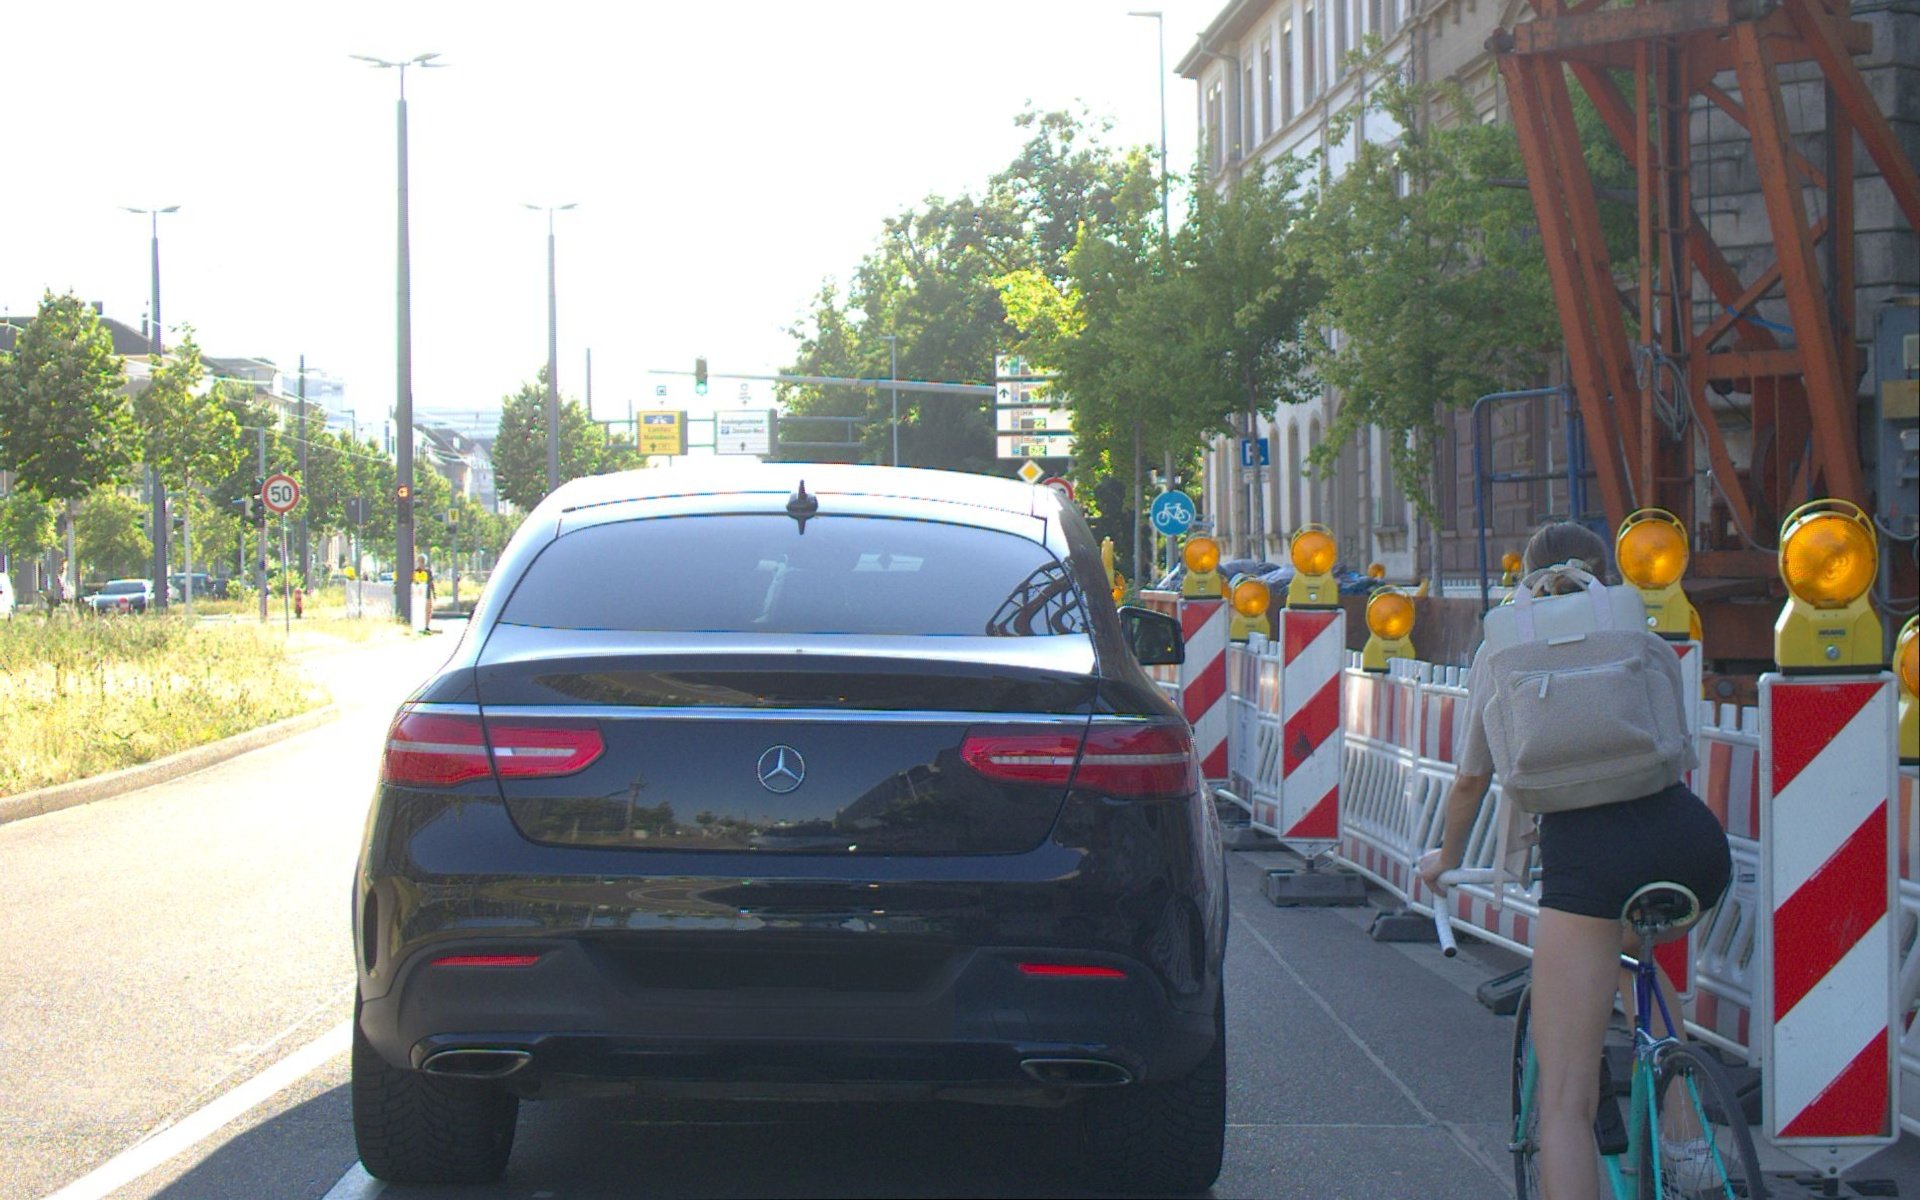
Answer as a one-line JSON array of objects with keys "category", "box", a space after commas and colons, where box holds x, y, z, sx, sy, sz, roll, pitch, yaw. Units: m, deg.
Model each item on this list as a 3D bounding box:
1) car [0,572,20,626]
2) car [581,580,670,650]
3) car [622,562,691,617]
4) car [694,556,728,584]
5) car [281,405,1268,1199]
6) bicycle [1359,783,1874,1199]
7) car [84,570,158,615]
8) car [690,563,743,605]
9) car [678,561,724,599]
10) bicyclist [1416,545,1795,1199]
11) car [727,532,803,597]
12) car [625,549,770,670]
[{"category": "car", "box": [-30.772, -0.028, 107.219, 1.790, 1.678, 3.638, 1, 1, 2]}, {"category": "car", "box": [-7.212, 0.305, 74.339, 1.708, 1.437, 3.583, 1, 1, -3]}, {"category": "car", "box": [-8.168, -0.299, 92.782, 1.708, 1.437, 3.583, 1, 1, -3]}, {"category": "car", "box": [-13.352, -1.618, 184.580, 1.708, 1.437, 3.583, 1, 1, -3]}, {"category": "car", "box": [-0.402, 0.478, 9.021, 1.993, 1.766, 4.000, 1, 1, -1]}, {"category": "bicycle", "box": [1.141, 0.918, 6.320, 0.512, 1.048, 1.725, 1, 1, -3]}, {"category": "car", "box": [-27.980, -0.263, 114.726, 1.708, 1.437, 3.583, 1, 1, -3]}, {"category": "car", "box": [-8.426, -0.568, 119.097, 1.708, 1.437, 3.583, 1, 1, -3]}, {"category": "car", "box": [-10.148, -0.787, 134.857, 1.708, 1.437, 3.583, 1, 1, -3]}, {"category": "bicyclist", "box": [1.150, 0.601, 6.218, 0.522, 1.391, 0.615, 1, 0, -3]}, {"category": "car", "box": [-4.481, -0.819, 79.299, 1.708, 1.437, 3.583, 1, 1, -3]}, {"category": "car", "box": [-3.251, 0.086, 43.096, 1.708, 1.437, 3.583, 0, 1, -3]}]
